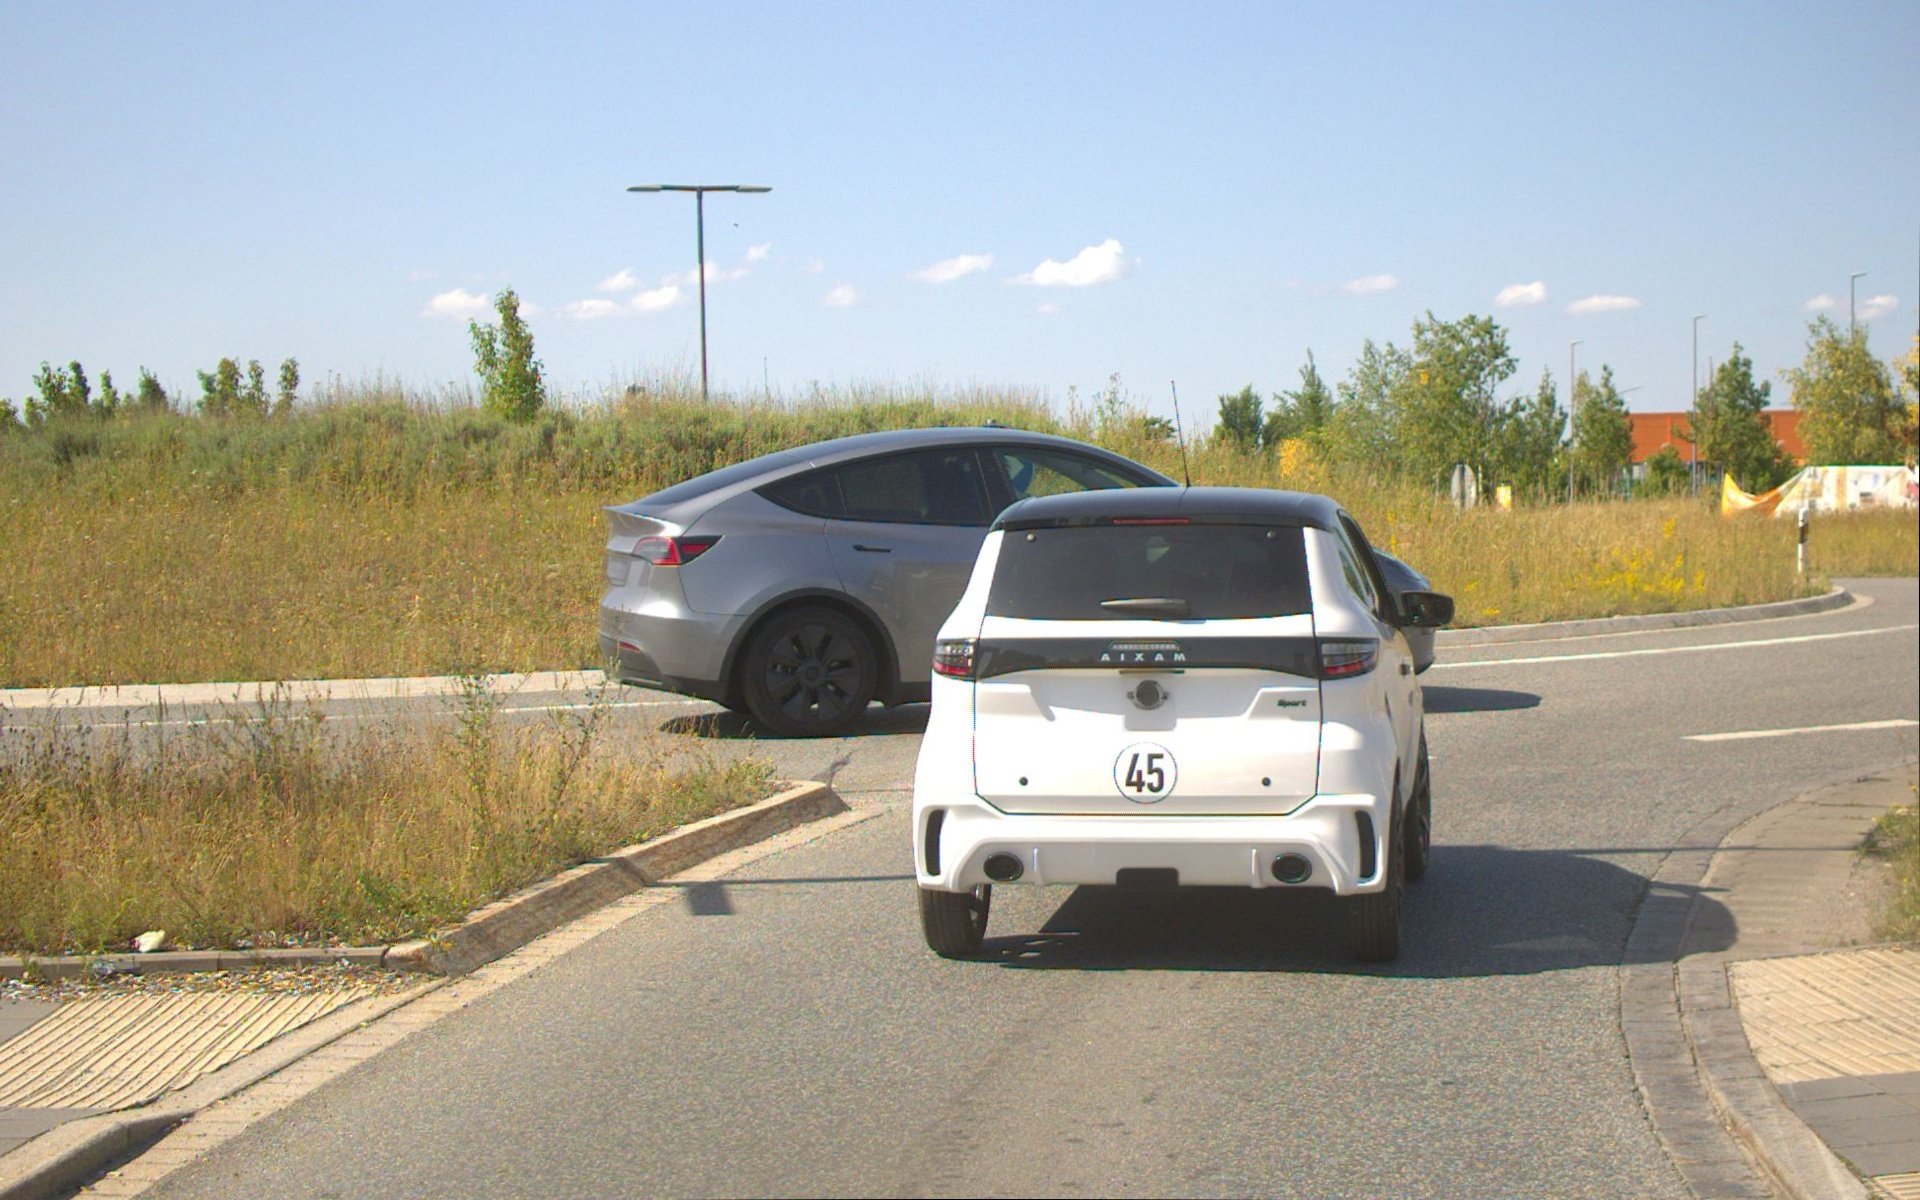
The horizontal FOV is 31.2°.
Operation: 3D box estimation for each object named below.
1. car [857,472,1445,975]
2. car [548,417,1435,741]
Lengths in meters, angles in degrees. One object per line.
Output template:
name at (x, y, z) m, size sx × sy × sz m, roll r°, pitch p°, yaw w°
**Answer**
car at (0.822, 0.302, 12.087) m, size 1.617 × 1.429 × 3.791 m, roll -1°, pitch 3°, yaw 10°
car at (0.130, -0.173, 19.284) m, size 4.608 × 1.620 × 1.964 m, roll -1°, pitch 3°, yaw -14°
